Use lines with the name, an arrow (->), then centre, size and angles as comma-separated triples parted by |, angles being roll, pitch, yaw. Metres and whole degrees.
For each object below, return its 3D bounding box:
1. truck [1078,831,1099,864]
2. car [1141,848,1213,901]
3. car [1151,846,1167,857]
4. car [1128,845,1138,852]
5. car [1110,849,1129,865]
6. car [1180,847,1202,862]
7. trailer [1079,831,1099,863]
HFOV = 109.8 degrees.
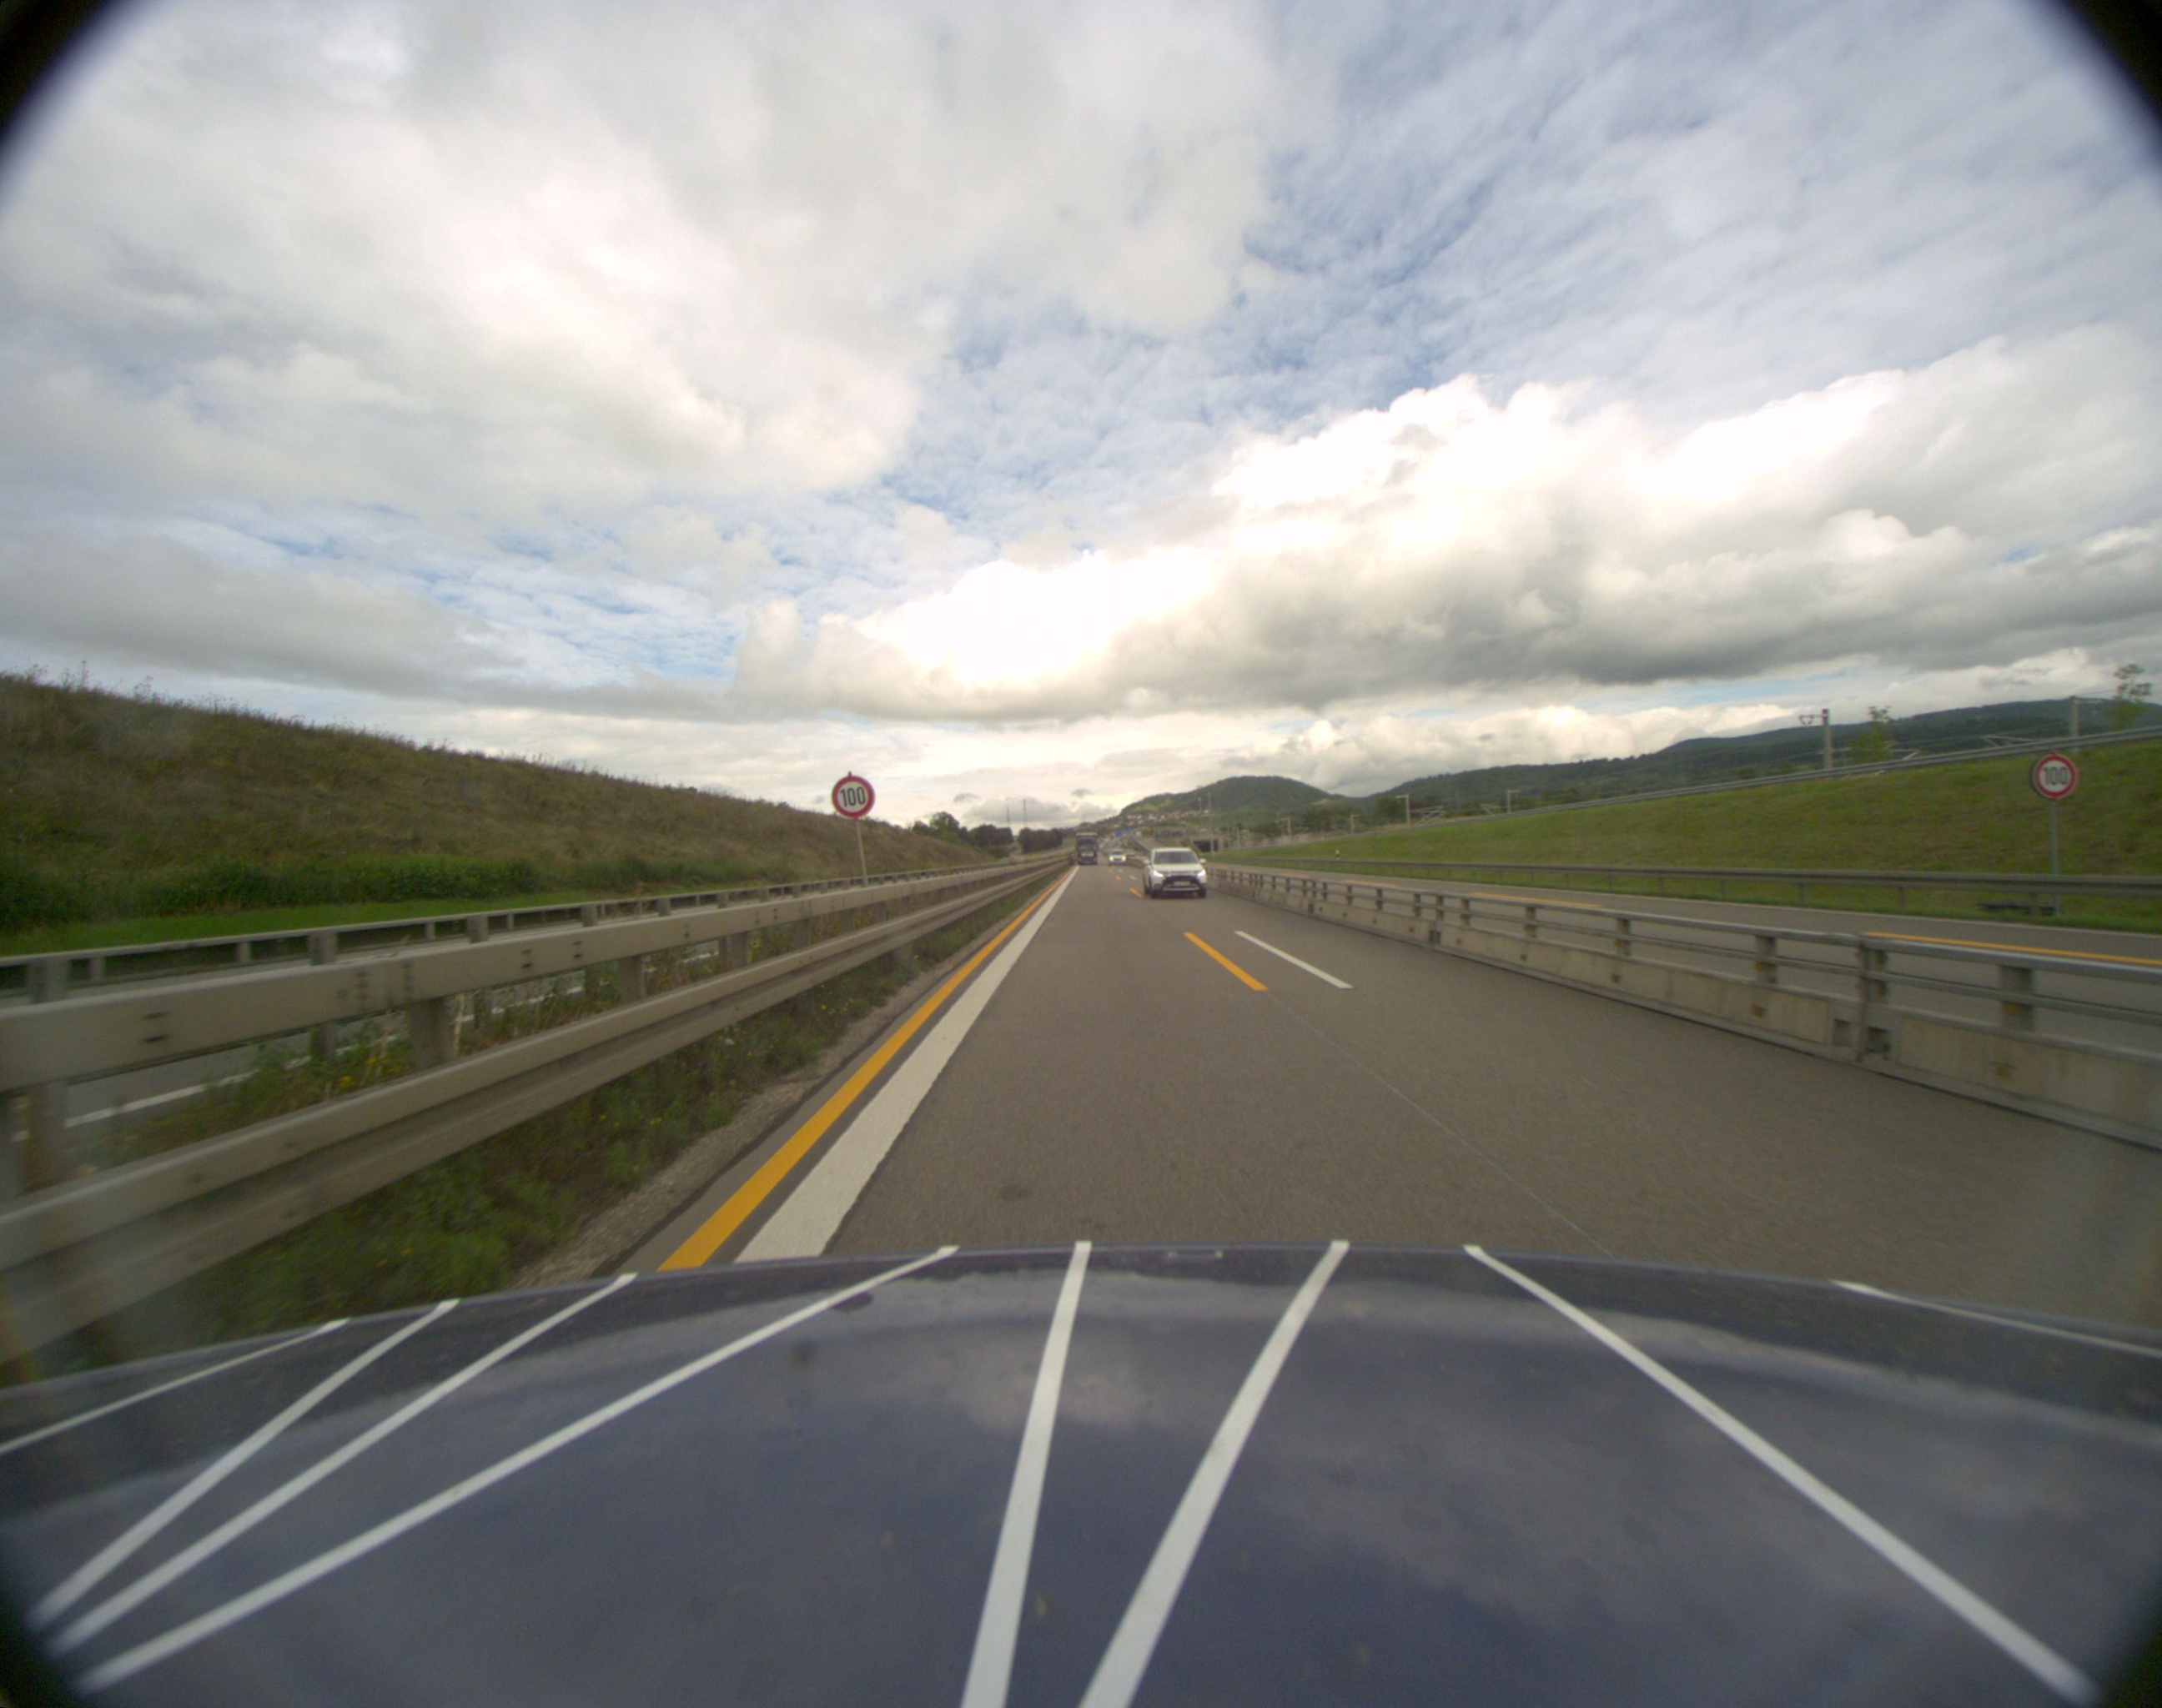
truck -> 1.029, -0.858, 97.311 | 2.521, 4.081, 5.685 | -1, 0, 1
car -> 3.144, 0.633, 25.796 | 1.998, 1.618, 4.607 | -1, 0, 2
car -> 11.688, -0.340, 114.028 | 1.894, 1.517, 4.182 | -1, 0, 1
car -> 12.234, -1.432, 180.190 | 2.094, 1.571, 4.281 | -2, 1, 1
car -> 4.504, 0.293, 88.786 | 1.990, 1.787, 4.586 | -1, 0, 1
car -> 11.713, 0.075, 80.817 | 1.792, 1.507, 4.135 | -1, 1, 1
trailer -> 1.151, -0.896, 102.141 | 2.521, 4.081, 11.113 | -1, 0, 1
